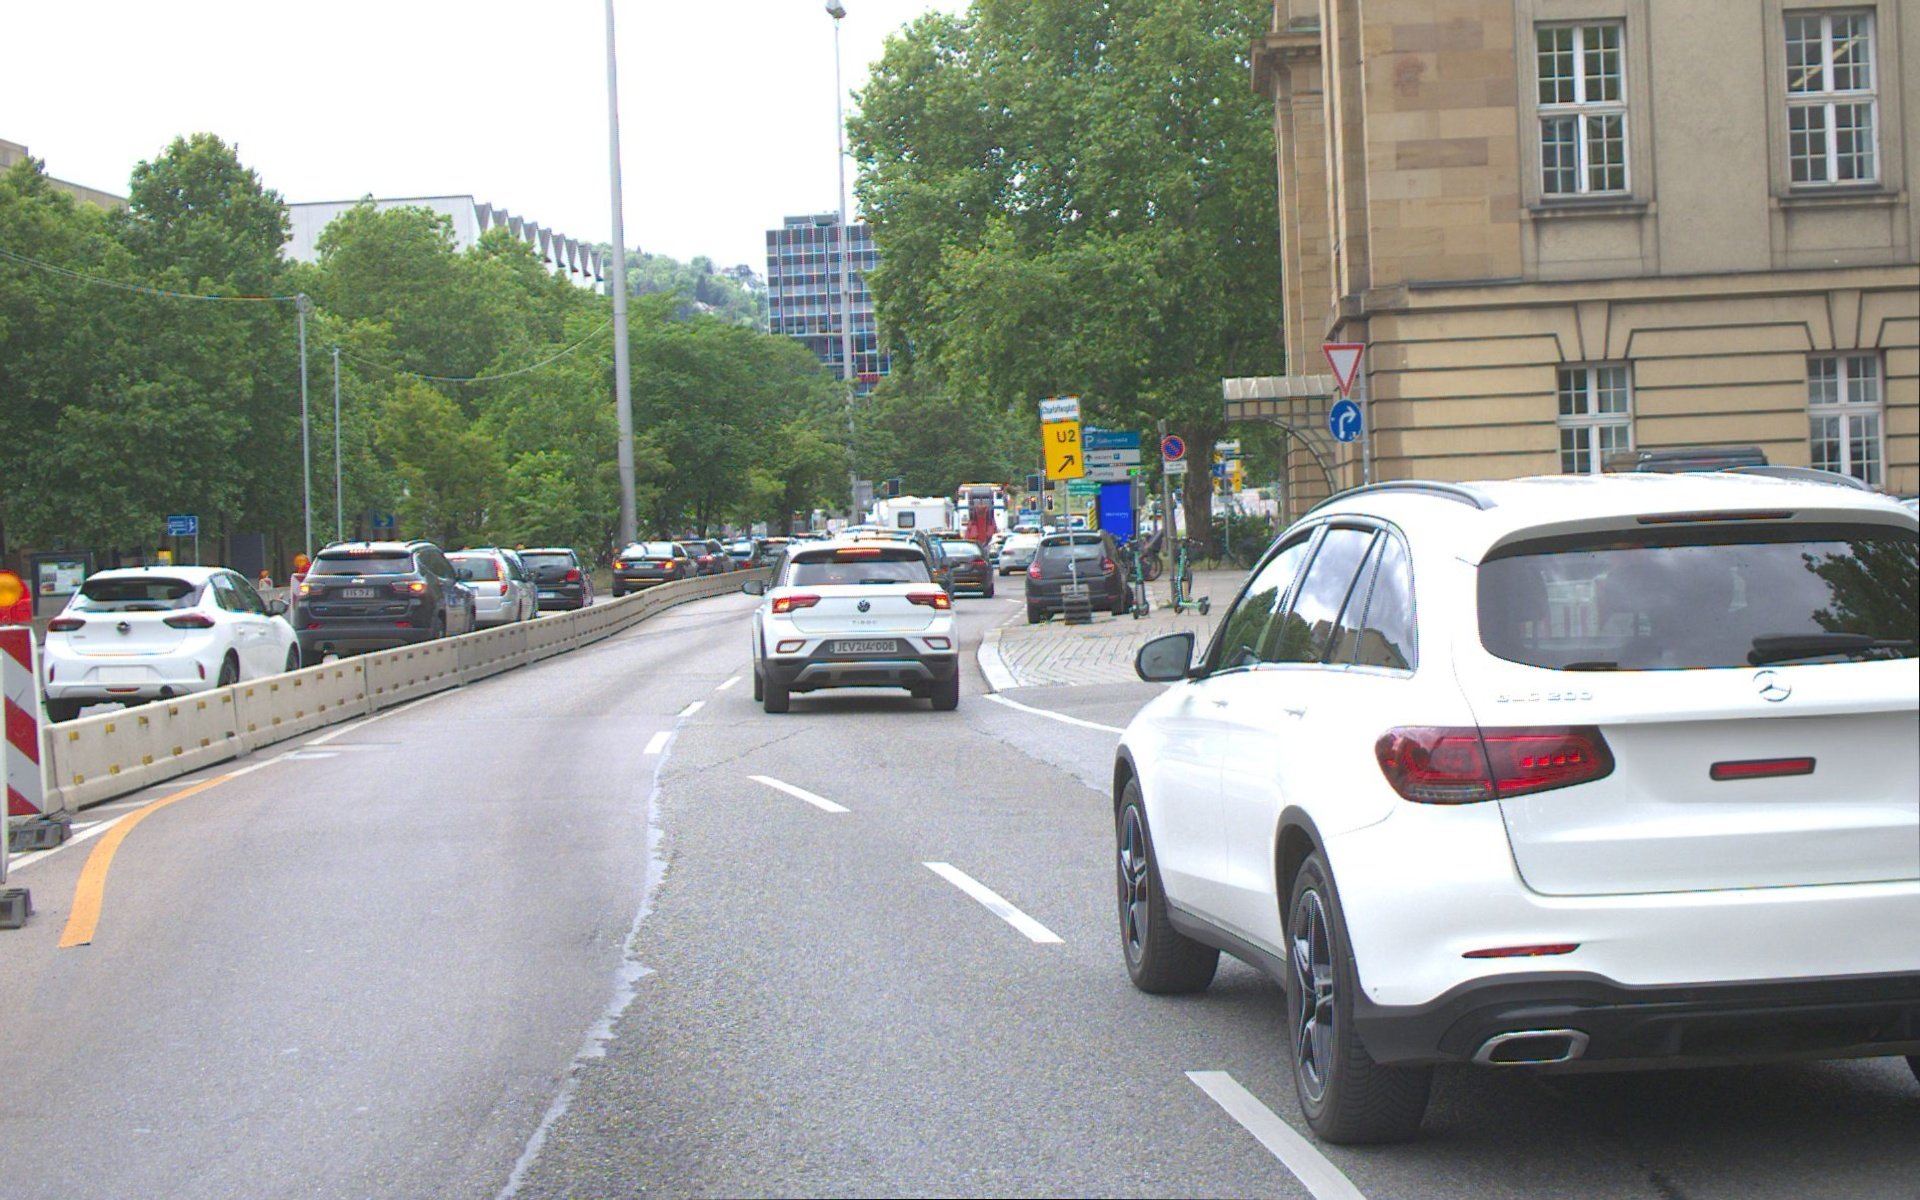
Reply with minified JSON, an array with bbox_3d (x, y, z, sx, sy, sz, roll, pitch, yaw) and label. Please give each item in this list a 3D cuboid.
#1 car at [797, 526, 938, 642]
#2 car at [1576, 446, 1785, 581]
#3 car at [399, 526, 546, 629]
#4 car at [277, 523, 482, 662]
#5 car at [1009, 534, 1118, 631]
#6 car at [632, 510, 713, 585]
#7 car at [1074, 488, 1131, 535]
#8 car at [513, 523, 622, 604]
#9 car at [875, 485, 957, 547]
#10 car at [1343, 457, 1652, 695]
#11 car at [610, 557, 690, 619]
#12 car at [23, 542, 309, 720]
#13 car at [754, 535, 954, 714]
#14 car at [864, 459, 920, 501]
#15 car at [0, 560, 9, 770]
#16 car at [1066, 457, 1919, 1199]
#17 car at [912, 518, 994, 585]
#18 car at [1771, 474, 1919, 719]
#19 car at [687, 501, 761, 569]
[{"bbox_3d":[-1.395,-0.270,50.256,1.823,1.562,4.481,0,2,-5],"label":"car"},{"bbox_3d":[9.032,-1.053,43.416,1.856,1.562,4.331,-2,0,3],"label":"car"},{"bbox_3d":[-7.909,-0.389,56.108,1.750,1.562,4.331,-2,1,0],"label":"car"},{"bbox_3d":[-7.335,-0.126,43.762,1.751,1.562,3.377,-5,1,3],"label":"car"},{"bbox_3d":[1.828,-0.343,60.006,1.823,1.562,4.480,0,2,2],"label":"car"},{"bbox_3d":[-8.433,-1.568,101.049,1.993,2.006,4.001,-2,3,-1],"label":"car"},{"bbox_3d":[7.710,-4.774,185.461,2.583,2.366,5.525,-3,1,7],"label":"car"},{"bbox_3d":[-8.027,-0.758,70.630,1.750,1.562,4.332,-2,1,-1],"label":"car"},{"bbox_3d":[-1.781,-3.471,140.988,2.583,2.366,5.525,-3,1,7],"label":"car"},{"bbox_3d":[3.887,-0.180,25.488,1.751,1.562,4.331,-2,0,3],"label":"car"},{"bbox_3d":[-8.290,-0.345,92.285,1.750,1.562,4.331,-2,1,0],"label":"car"},{"bbox_3d":[-7.518,0.255,32.857,1.751,1.562,3.377,-1,1,3],"label":"car"},{"bbox_3d":[-1.014,0.176,32.395,1.750,1.562,4.332,0,1,-2],"label":"car"},{"bbox_3d":[-4.127,-7.343,210.494,2.583,2.366,5.525,-3,1,7],"label":"car"},{"bbox_3d":[-8.161,0.550,23.741,1.751,1.562,4.331,-2,1,3],"label":"car"},{"bbox_3d":[1.564,0.485,9.801,1.811,1.637,4.553,-4,1,-6],"label":"car"},{"bbox_3d":[-0.146,-1.221,84.584,1.823,1.562,4.480,0,2,2],"label":"car"},{"bbox_3d":[7.023,-0.067,24.158,1.751,1.562,4.331,-2,0,3],"label":"car"},{"bbox_3d":[-7.648,-2.135,111.683,1.993,2.006,4.001,-2,3,1],"label":"car"}]
